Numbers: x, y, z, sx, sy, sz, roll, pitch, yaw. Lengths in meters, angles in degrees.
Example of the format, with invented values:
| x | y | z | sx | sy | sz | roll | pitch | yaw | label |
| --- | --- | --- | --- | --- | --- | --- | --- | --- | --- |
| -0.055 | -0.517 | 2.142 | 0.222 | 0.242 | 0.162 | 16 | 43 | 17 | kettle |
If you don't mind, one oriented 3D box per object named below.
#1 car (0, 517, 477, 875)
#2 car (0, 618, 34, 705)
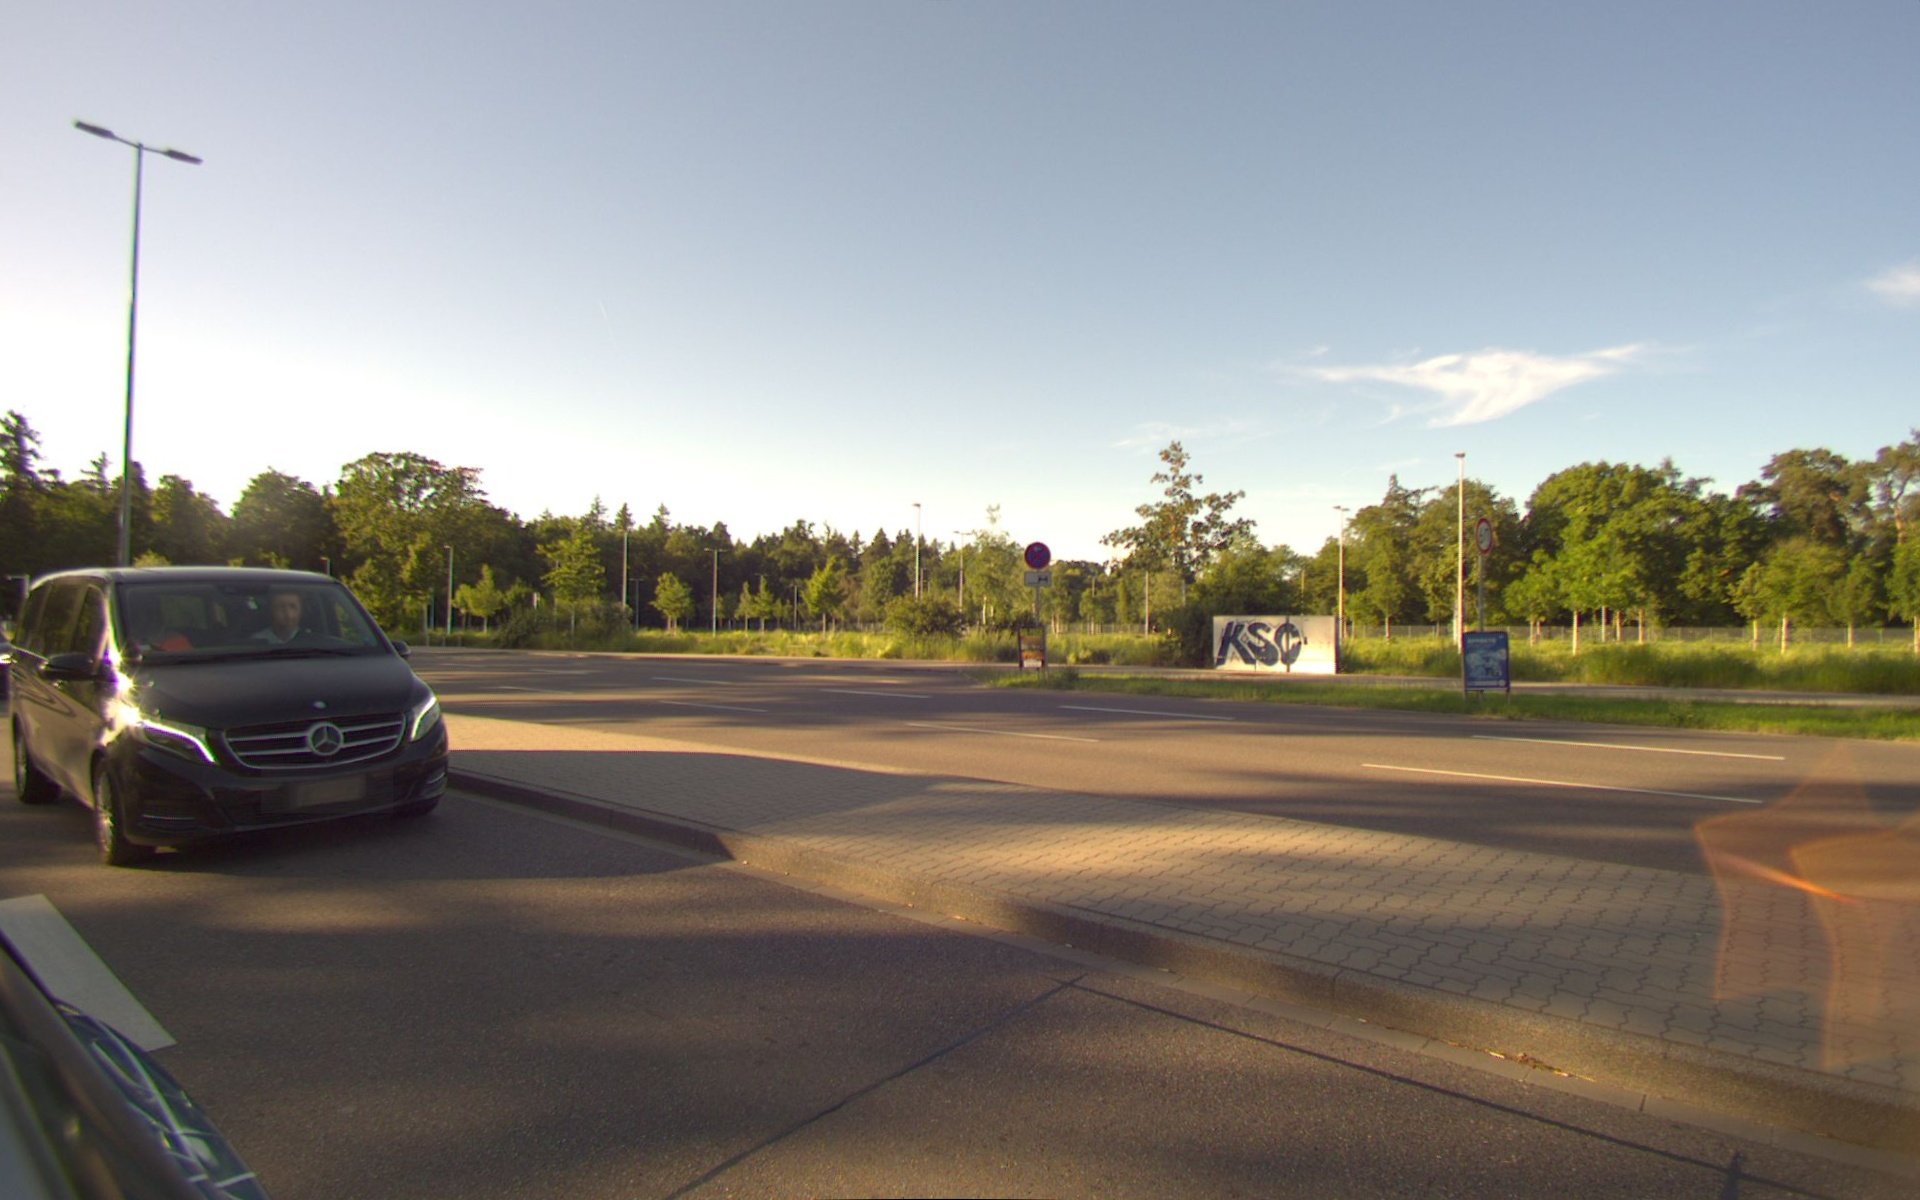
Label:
| x | y | z | sx | sy | sz | roll | pitch | yaw | label |
| --- | --- | --- | --- | --- | --- | --- | --- | --- | --- |
| -5.672 | 0.532 | 7.610 | 4.870 | 1.870 | 1.887 | -1 | 0 | 41 | car |
| -19.060 | 1.132 | 19.078 | 3.997 | 1.548 | 1.859 | -1 | 0 | 40 | car |
